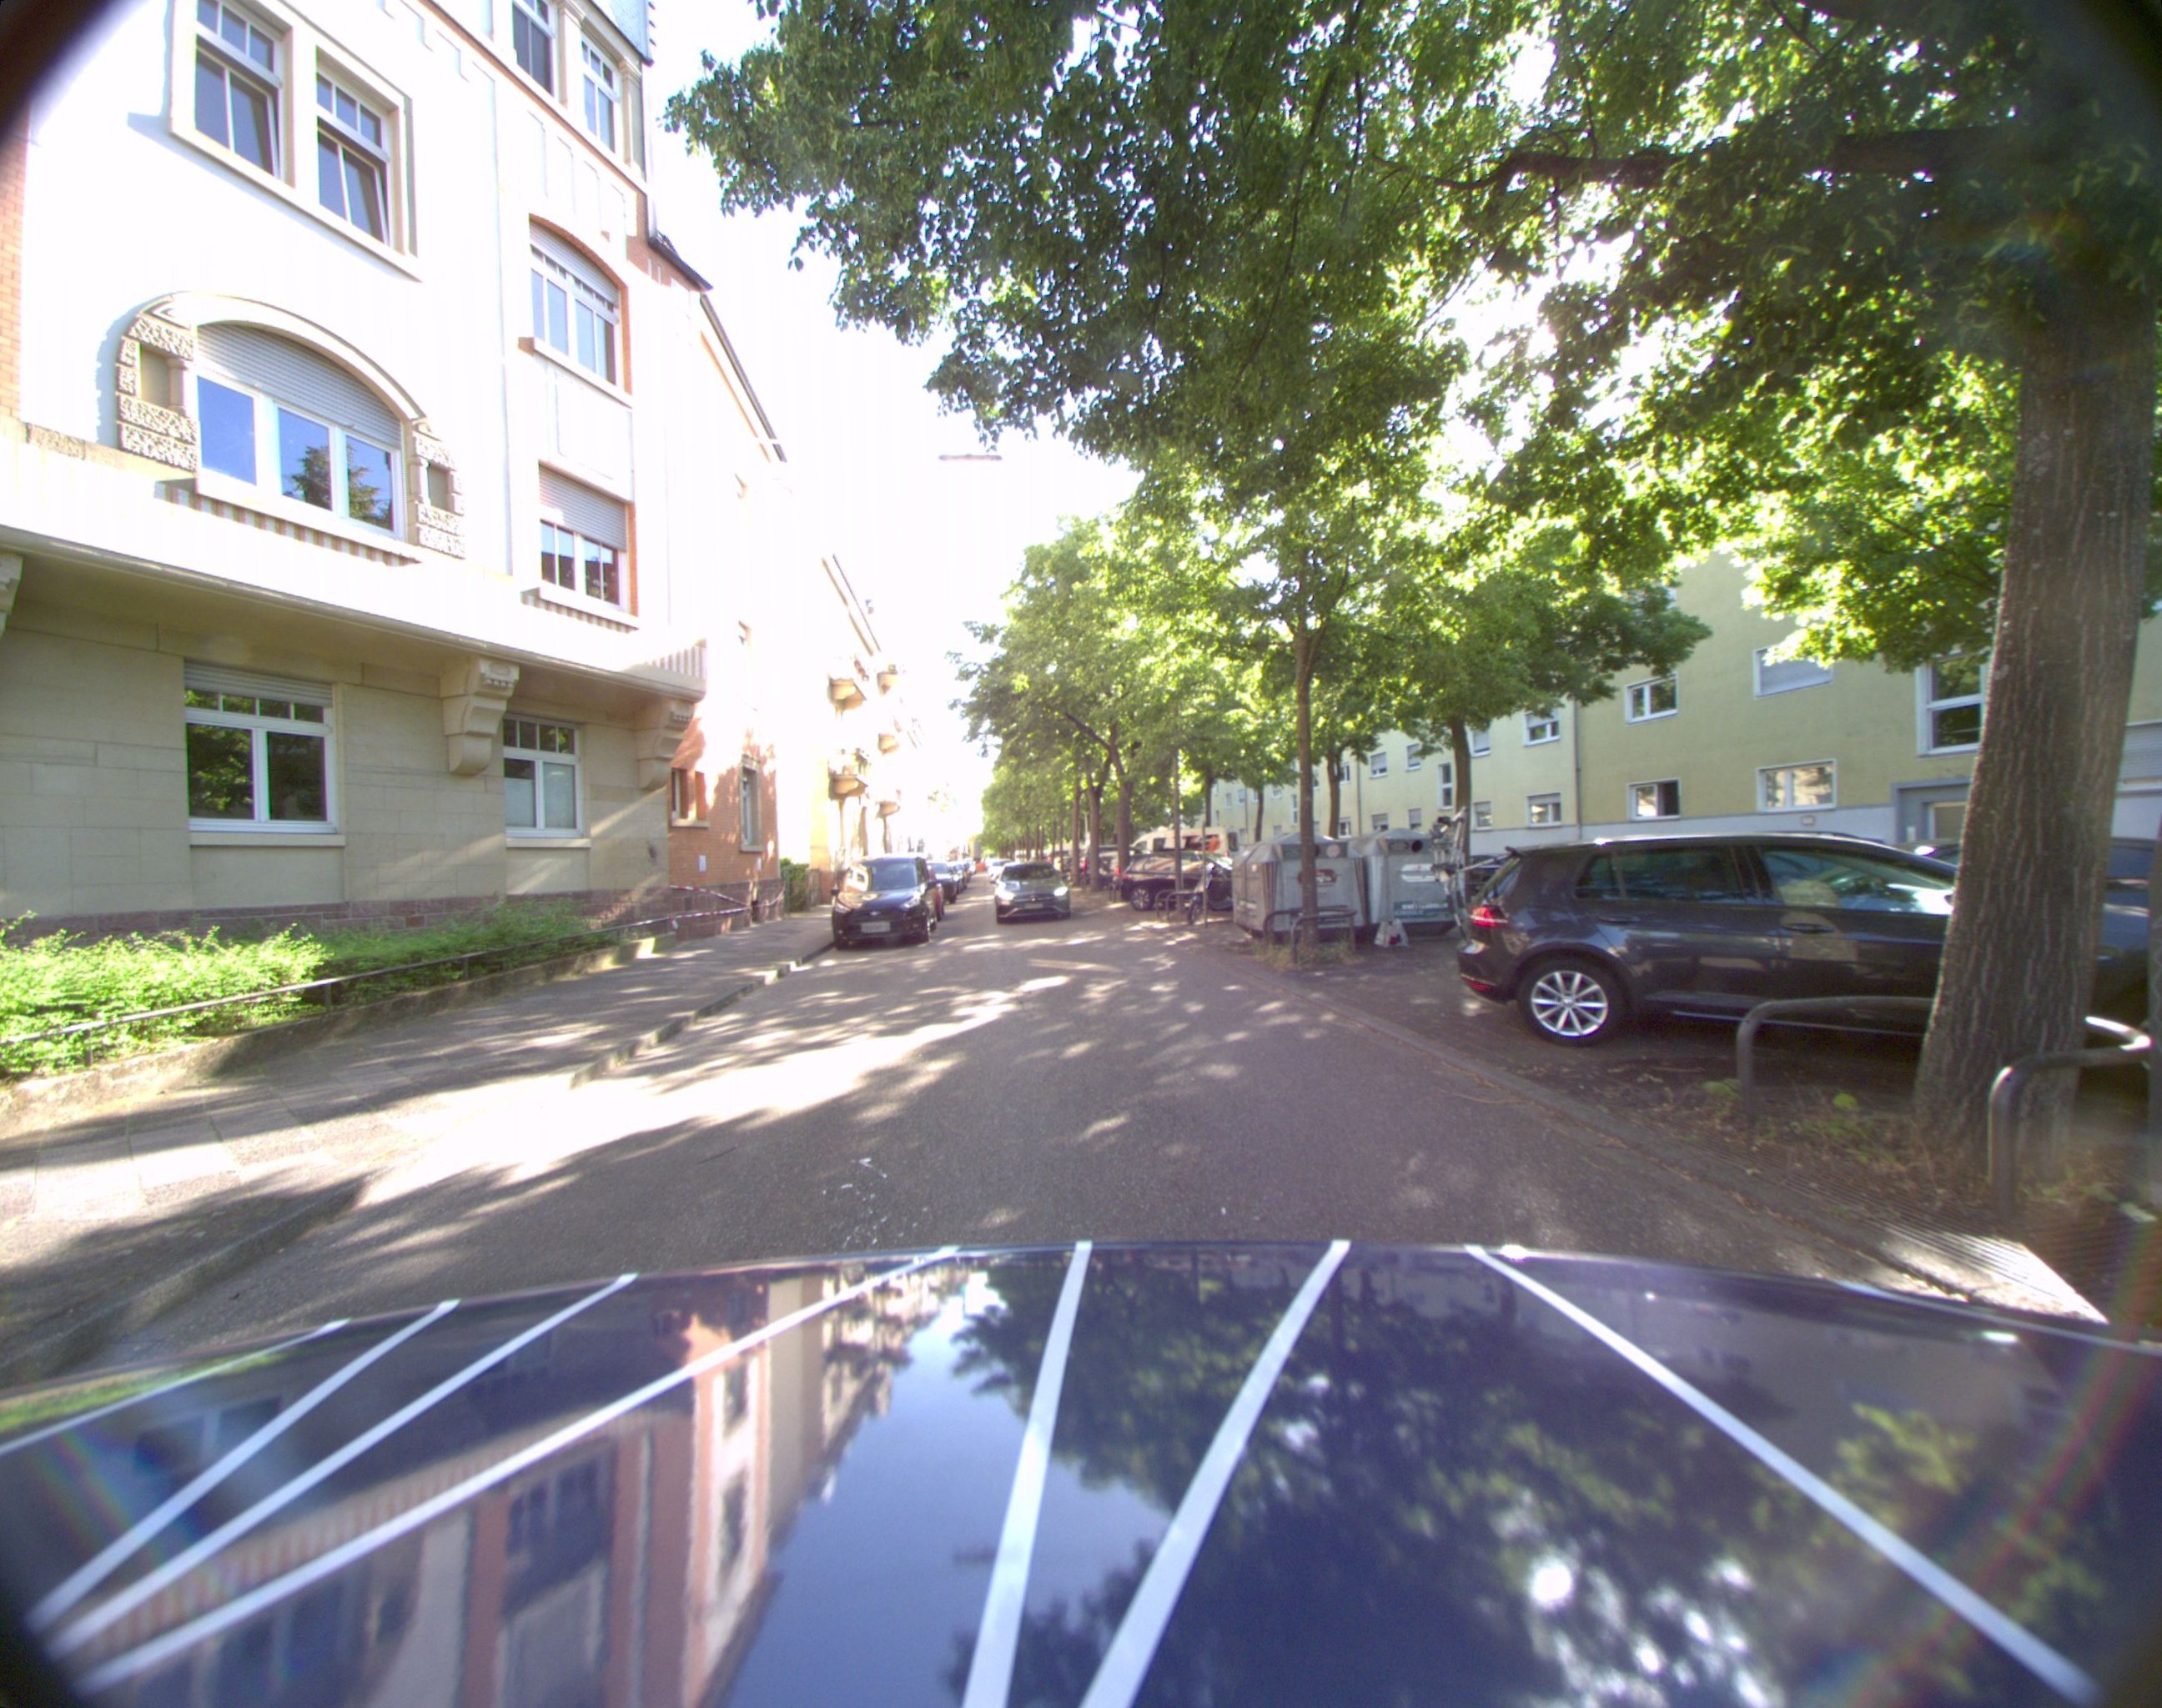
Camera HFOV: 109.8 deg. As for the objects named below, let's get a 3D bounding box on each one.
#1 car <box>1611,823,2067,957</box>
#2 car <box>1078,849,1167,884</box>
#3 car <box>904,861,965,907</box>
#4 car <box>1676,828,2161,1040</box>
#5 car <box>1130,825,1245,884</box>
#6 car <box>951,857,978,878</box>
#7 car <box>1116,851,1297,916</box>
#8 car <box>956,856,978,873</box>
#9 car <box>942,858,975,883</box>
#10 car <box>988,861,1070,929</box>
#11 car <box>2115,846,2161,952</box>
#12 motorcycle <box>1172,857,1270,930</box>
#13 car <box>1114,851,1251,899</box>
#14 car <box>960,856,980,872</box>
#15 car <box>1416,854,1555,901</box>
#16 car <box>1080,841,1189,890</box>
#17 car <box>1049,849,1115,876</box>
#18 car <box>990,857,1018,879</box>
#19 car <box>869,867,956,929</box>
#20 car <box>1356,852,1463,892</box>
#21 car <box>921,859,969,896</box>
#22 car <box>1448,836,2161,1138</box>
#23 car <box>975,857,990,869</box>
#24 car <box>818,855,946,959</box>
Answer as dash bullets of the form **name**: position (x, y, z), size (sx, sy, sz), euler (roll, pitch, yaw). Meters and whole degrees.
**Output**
- **car**: position (9.375, 0.427, 9.674), size (3.997, 1.464, 1.760), euler (-1, 0, 1)
- **car**: position (2.047, 0.623, 37.700), size (3.989, 1.624, 1.827), euler (-1, 0, 31)
- **car**: position (-5.600, 1.102, 29.508), size (1.798, 1.547, 4.207), euler (-4, 0, -5)
- **car**: position (7.529, 0.559, 6.245), size (3.989, 1.464, 1.763), euler (-1, 0, 32)
- **car**: position (4.692, 0.053, 33.549), size (4.583, 2.476, 1.990), euler (-1, 0, 27)
- **car**: position (-9.456, 1.086, 61.775), size (1.798, 1.547, 4.207), euler (-4, 0, -5)
- **car**: position (3.064, 0.692, 18.739), size (3.989, 1.433, 1.827), euler (-1, 0, 31)
- **car**: position (-11.477, 1.003, 76.713), size (1.798, 1.547, 4.207), euler (-4, 0, -5)
- **car**: position (-8.310, 1.096, 51.745), size (1.798, 1.547, 4.207), euler (-4, 0, -5)
- **car**: position (-1.358, 0.955, 19.400), size (1.798, 1.426, 4.207), euler (-3, 0, -5)
- **car**: position (15.739, 0.594, 8.667), size (1.735, 1.430, 4.385), euler (-1, 0, -7)
- **motorcycle**: position (2.791, 0.755, 15.130), size (1.802, 1.340, 0.727), euler (-2, 0, -25)
- **car**: position (3.271, 0.677, 24.734), size (3.989, 1.444, 1.827), euler (-1, 0, 31)
- **car**: position (-11.935, 1.054, 81.675), size (1.798, 1.547, 4.207), euler (-4, 0, -5)
- **car**: position (13.685, 0.735, 26.069), size (2.043, 1.430, 4.385), euler (-1, 0, -7)
- **car**: position (2.171, 0.474, 31.153), size (3.989, 1.887, 1.827), euler (-1, 0, 31)
- **car**: position (0.061, 0.546, 50.888), size (3.992, 1.677, 1.826), euler (-1, 0, 18)
- **car**: position (-5.341, 0.946, 53.294), size (1.798, 1.426, 4.207), euler (-2, 0, -5)
- **car**: position (-4.696, 1.170, 21.727), size (1.798, 1.445, 4.207), euler (-4, 0, -5)
- **car**: position (13.147, 0.676, 30.752), size (2.043, 1.430, 4.385), euler (-1, 0, -7)
- **car**: position (-6.544, 1.090, 36.972), size (1.798, 1.547, 4.207), euler (-4, 0, -5)
- **car**: position (4.784, 0.667, 5.055), size (3.989, 1.464, 1.763), euler (-1, 0, 33)
- **car**: position (-13.738, 1.193, 106.173), size (1.798, 1.547, 4.207), euler (-4, 0, -5)
- **car**: position (-3.966, 0.974, 15.850), size (1.798, 1.756, 4.207), euler (-4, 0, -5)
